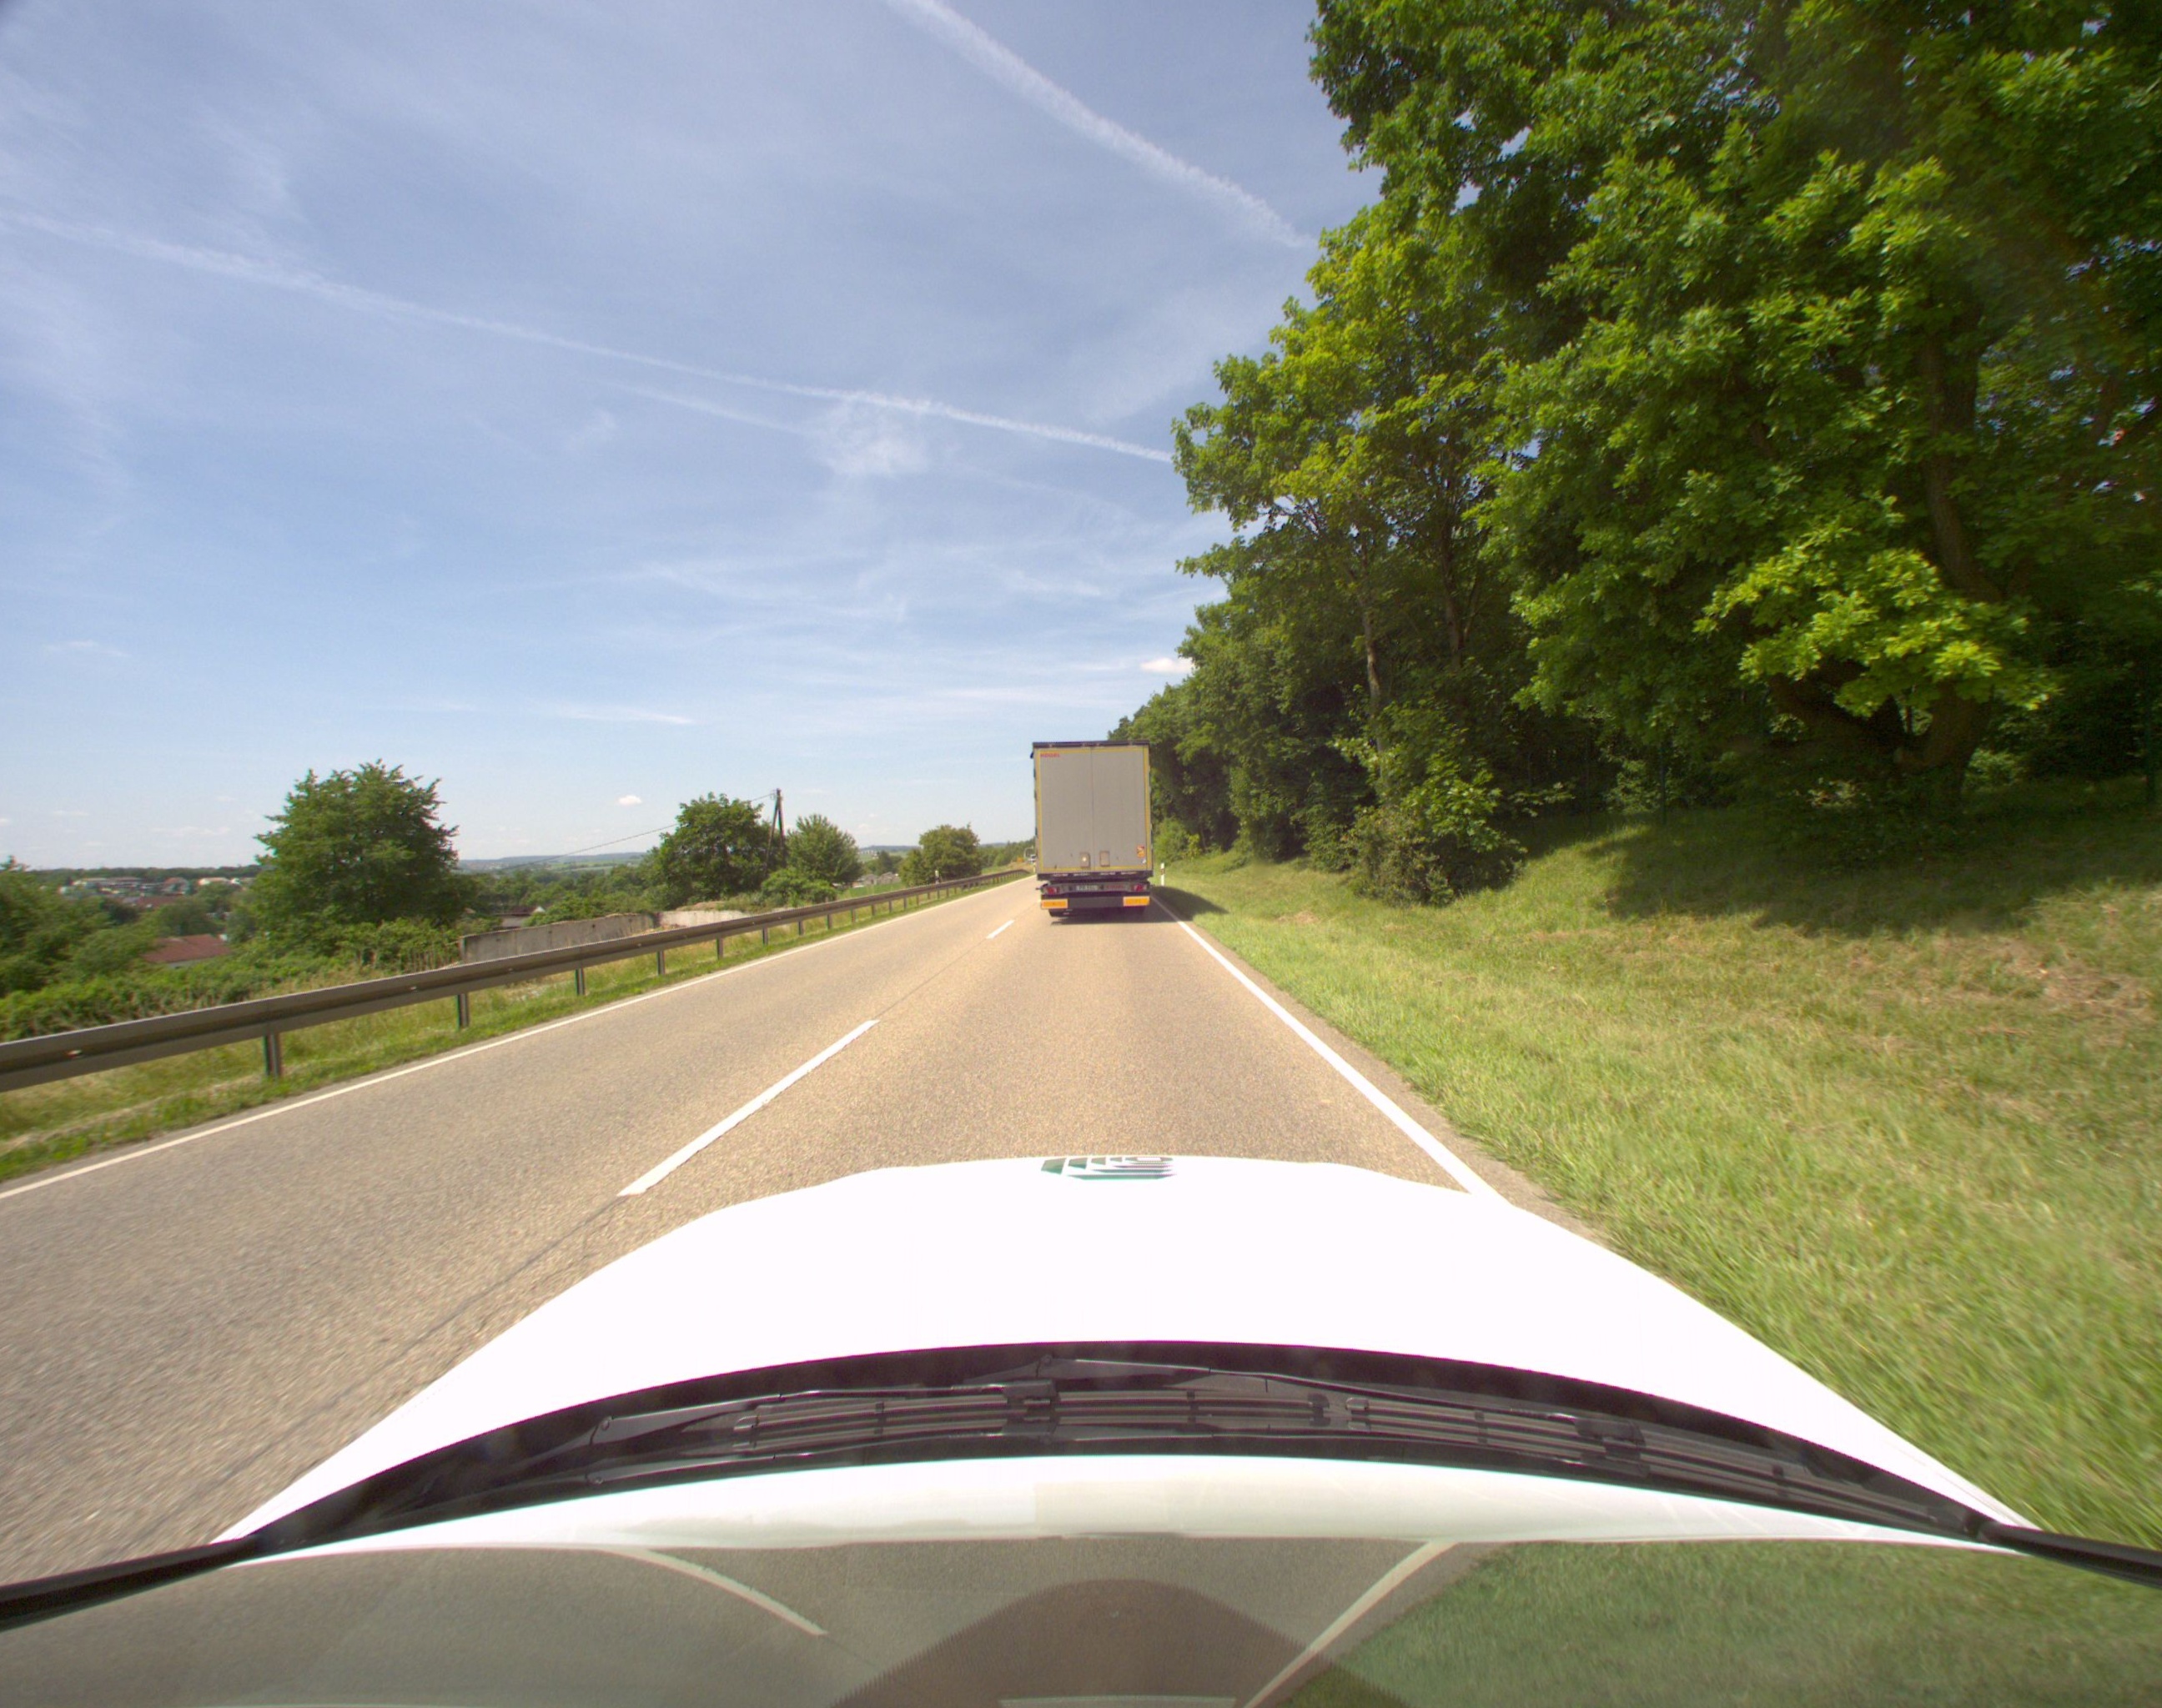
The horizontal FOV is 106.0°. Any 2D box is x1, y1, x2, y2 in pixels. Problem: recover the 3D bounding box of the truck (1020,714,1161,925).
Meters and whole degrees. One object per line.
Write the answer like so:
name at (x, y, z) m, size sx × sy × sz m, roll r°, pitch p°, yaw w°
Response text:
truck at (0.377, -0.723, 21.721) m, size 2.896 × 4.410 × 8.864 m, roll -1°, pitch 0°, yaw 2°
